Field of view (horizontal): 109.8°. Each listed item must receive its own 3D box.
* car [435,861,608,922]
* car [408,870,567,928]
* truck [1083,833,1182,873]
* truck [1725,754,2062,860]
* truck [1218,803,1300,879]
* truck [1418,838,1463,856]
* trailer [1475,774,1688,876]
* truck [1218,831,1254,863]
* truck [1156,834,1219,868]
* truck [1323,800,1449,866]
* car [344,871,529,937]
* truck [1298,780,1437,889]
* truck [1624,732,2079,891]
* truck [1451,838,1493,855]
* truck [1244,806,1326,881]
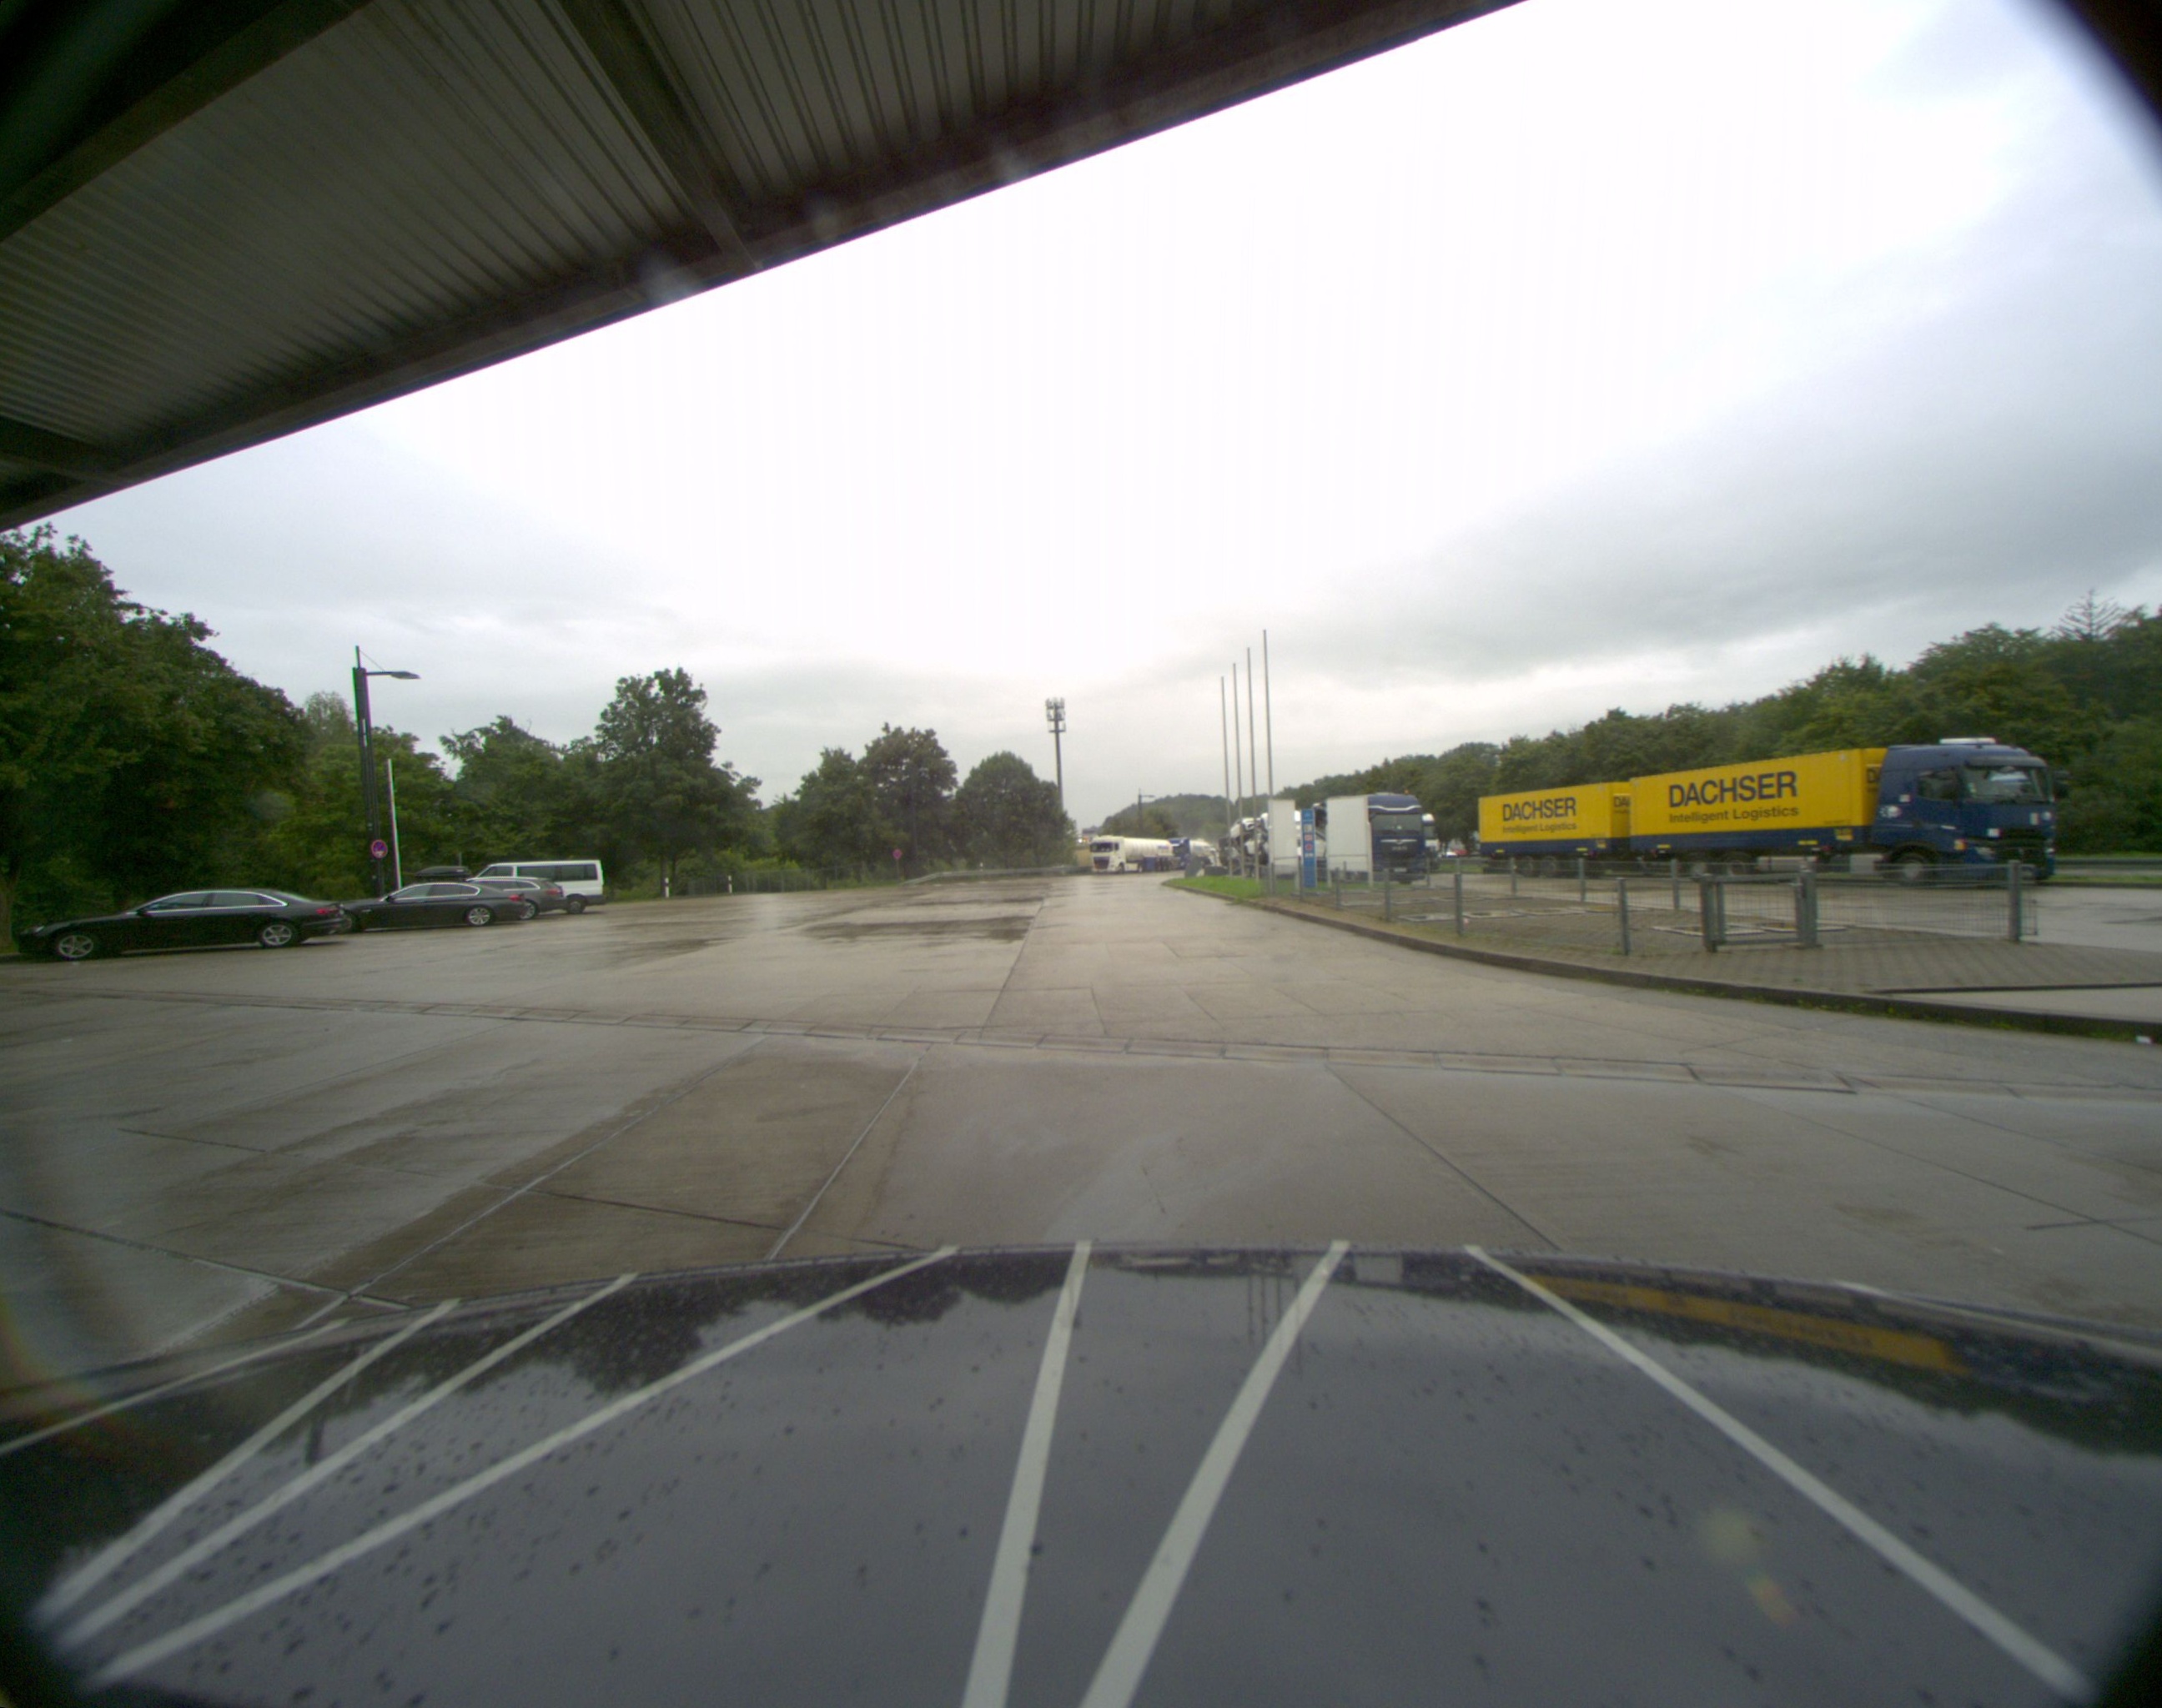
[{"bbox_3d":[-20.426,1.288,27.997,4.898,1.938,2.310,-2,0,-35],"label":"car"},{"bbox_3d":[-19.470,1.427,25.161,4.007,1.650,1.596,-2,0,-35],"label":"car"},{"bbox_3d":[5.454,-0.155,75.211,3.505,3.584,14.426,-2,0,31],"label":"truck"},{"bbox_3d":[33.912,-1.749,32.716,2.421,3.785,10.223,-2,1,-10],"label":"truck"},{"bbox_3d":[10.572,-0.720,45.781,2.665,4.157,6.618,-2,1,-6],"label":"truck"},{"bbox_3d":[45.270,-0.857,95.850,2.082,2.112,5.827,-2,1,-10],"label":"truck"},{"bbox_3d":[21.793,-1.175,33.950,2.757,3.894,8.700,-2,1,-9],"label":"trailer"},{"bbox_3d":[21.430,-0.986,105.544,3.143,4.105,11.523,-2,1,3],"label":"truck"},{"bbox_3d":[12.782,-0.396,89.692,3.506,3.584,14.686,-2,0,23],"label":"truck"},{"bbox_3d":[19.884,-1.290,50.571,2.757,3.894,10.678,-2,1,-8],"label":"truck"},{"bbox_3d":[-18.875,1.394,22.509,4.007,1.650,1.596,-2,0,-35],"label":"car"},{"bbox_3d":[12.185,-0.789,33.182,2.665,4.157,7.103,-2,0,-6],"label":"truck"},{"bbox_3d":[23.155,-1.119,24.329,2.757,3.894,10.678,-2,1,-8],"label":"truck"},{"bbox_3d":[49.011,-0.924,95.264,2.000,2.002,4.929,-2,1,-11],"label":"truck"},{"bbox_3d":[11.048,-0.552,41.590,2.665,3.750,4.747,-2,1,-6],"label":"truck"}]
